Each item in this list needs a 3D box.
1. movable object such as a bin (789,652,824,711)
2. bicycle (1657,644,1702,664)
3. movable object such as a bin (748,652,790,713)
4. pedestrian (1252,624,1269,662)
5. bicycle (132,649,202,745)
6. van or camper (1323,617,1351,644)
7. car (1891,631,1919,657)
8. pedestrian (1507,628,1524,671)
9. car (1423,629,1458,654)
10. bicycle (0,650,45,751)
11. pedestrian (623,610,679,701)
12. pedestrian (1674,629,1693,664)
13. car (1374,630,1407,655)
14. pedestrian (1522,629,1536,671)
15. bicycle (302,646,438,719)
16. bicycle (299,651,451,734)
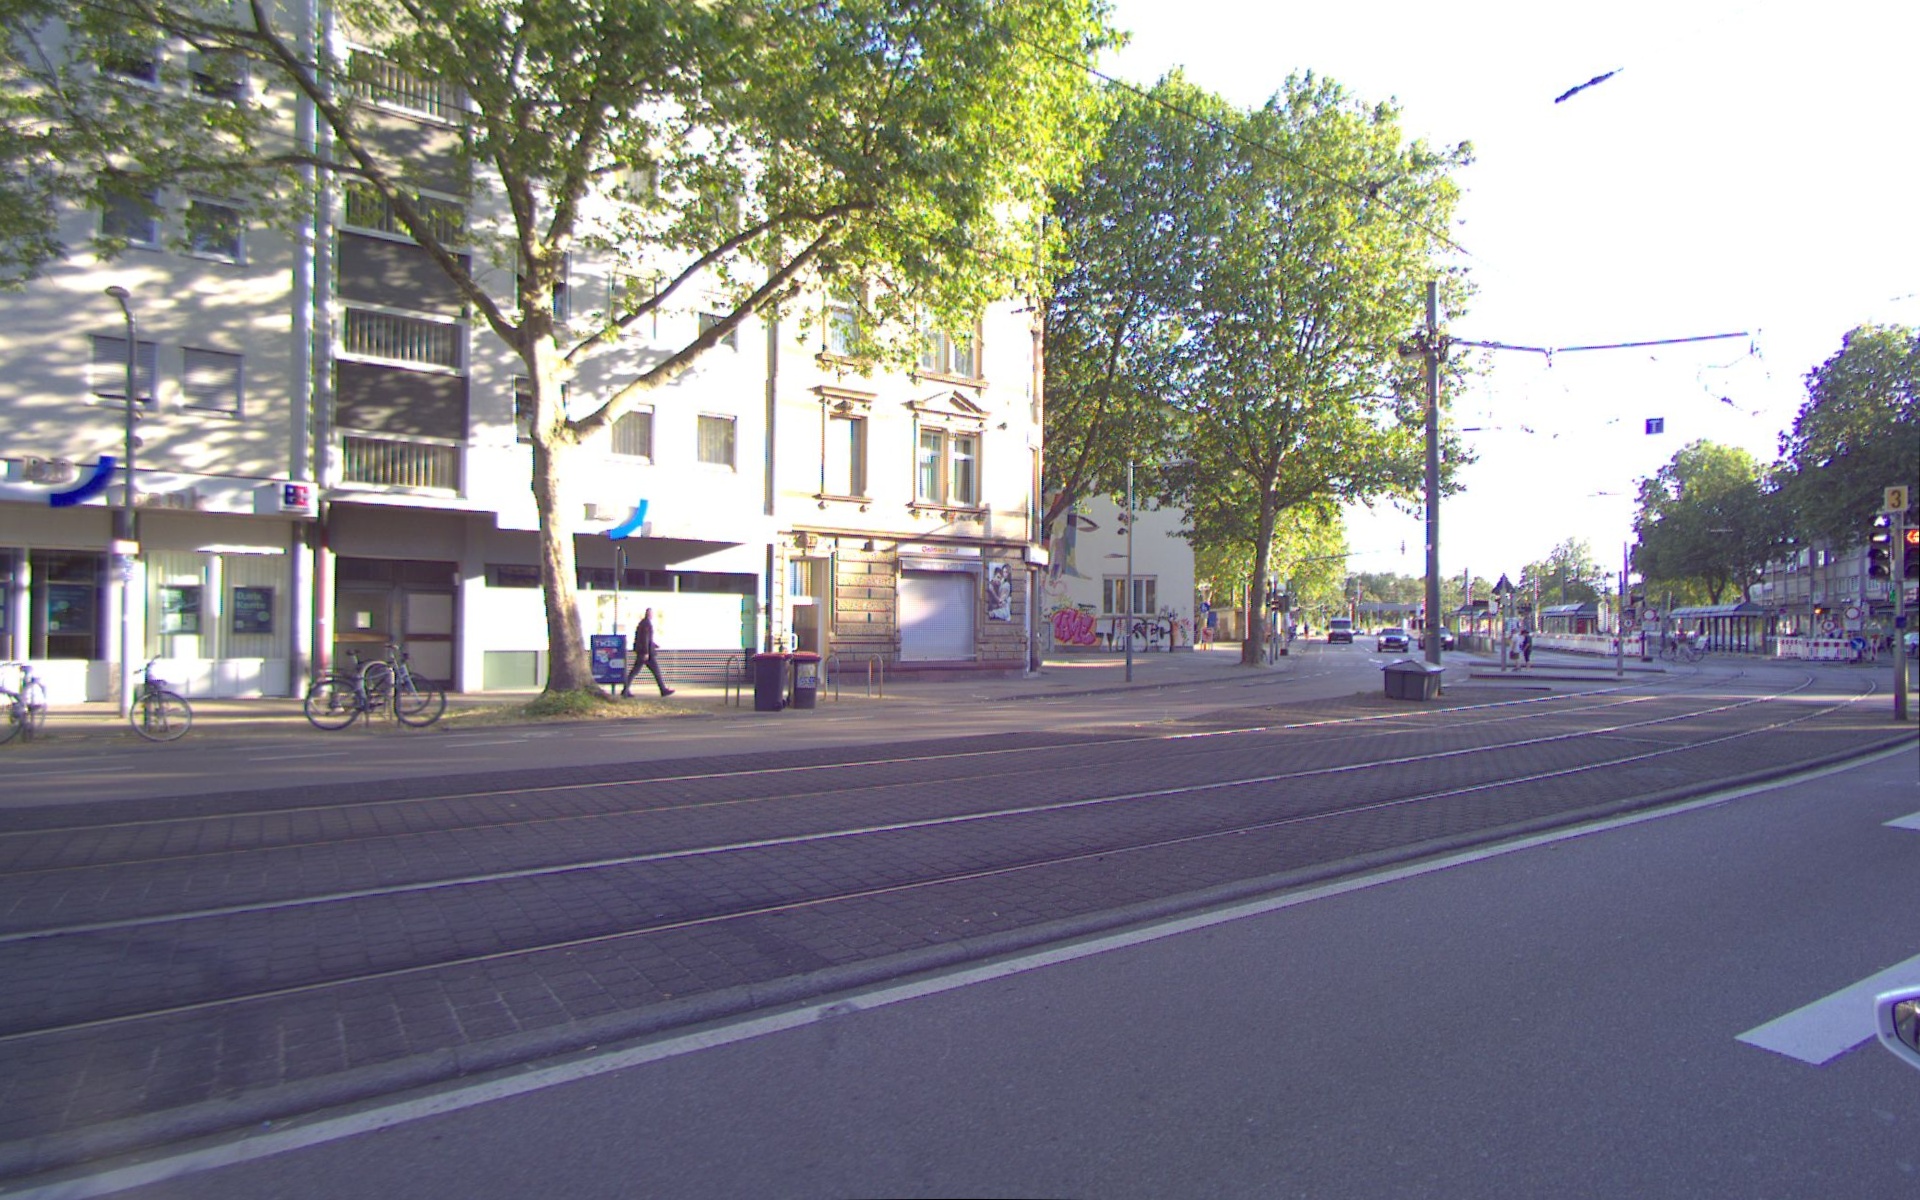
[{"bbox_3d":[-2.944,1.568,19.336,0.562,1.108,0.477,-1,-1,6],"label":"movable object such as a bin"},{"bbox_3d":[37.164,2.791,51.901,1.810,0.955,0.463,0,-1,20],"label":"bicycle"},{"bbox_3d":[-3.563,1.533,18.727,0.634,1.108,0.546,-1,-1,6],"label":"movable object such as a bin"},{"bbox_3d":[14.176,2.024,47.382,0.663,1.733,0.431,1,0,2],"label":"pedestrian"},{"bbox_3d":[-10.757,1.277,13.670,0.646,1.139,1.881,1,-1,-36],"label":"bicycle"},{"bbox_3d":[33.966,2.737,90.416,2.132,2.349,5.103,-2,-2,22],"label":"van or camper"},{"bbox_3d":[59.173,2.689,61.790,1.636,1.488,3.411,-3,-2,23],"label":"car"},{"bbox_3d":[20.012,1.762,36.212,0.512,1.524,0.593,0,-1,27],"label":"pedestrian"},{"bbox_3d":[32.701,2.780,68.436,1.855,1.606,4.206,0,-2,22],"label":"car"},{"bbox_3d":[-12.125,1.235,12.662,0.646,1.139,1.881,1,-1,-36],"label":"bicycle"},{"bbox_3d":[-6.338,1.131,20.623,0.959,1.811,0.615,1,0,-30],"label":"pedestrian"},{"bbox_3d":[37.070,2.380,51.446,0.708,1.748,0.399,0,-1,21],"label":"pedestrian"},{"bbox_3d":[26.873,2.632,62.607,1.856,1.492,4.204,0,-1,24],"label":"car"},{"bbox_3d":[20.619,1.803,36.384,0.402,1.524,0.517,0,-1,27],"label":"pedestrian"},{"bbox_3d":[-9.708,1.333,16.578,1.891,1.139,0.505,1,-1,-33],"label":"bicycle"},{"bbox_3d":[-8.576,1.331,14.771,1.891,1.139,0.505,1,-1,-33],"label":"bicycle"}]
